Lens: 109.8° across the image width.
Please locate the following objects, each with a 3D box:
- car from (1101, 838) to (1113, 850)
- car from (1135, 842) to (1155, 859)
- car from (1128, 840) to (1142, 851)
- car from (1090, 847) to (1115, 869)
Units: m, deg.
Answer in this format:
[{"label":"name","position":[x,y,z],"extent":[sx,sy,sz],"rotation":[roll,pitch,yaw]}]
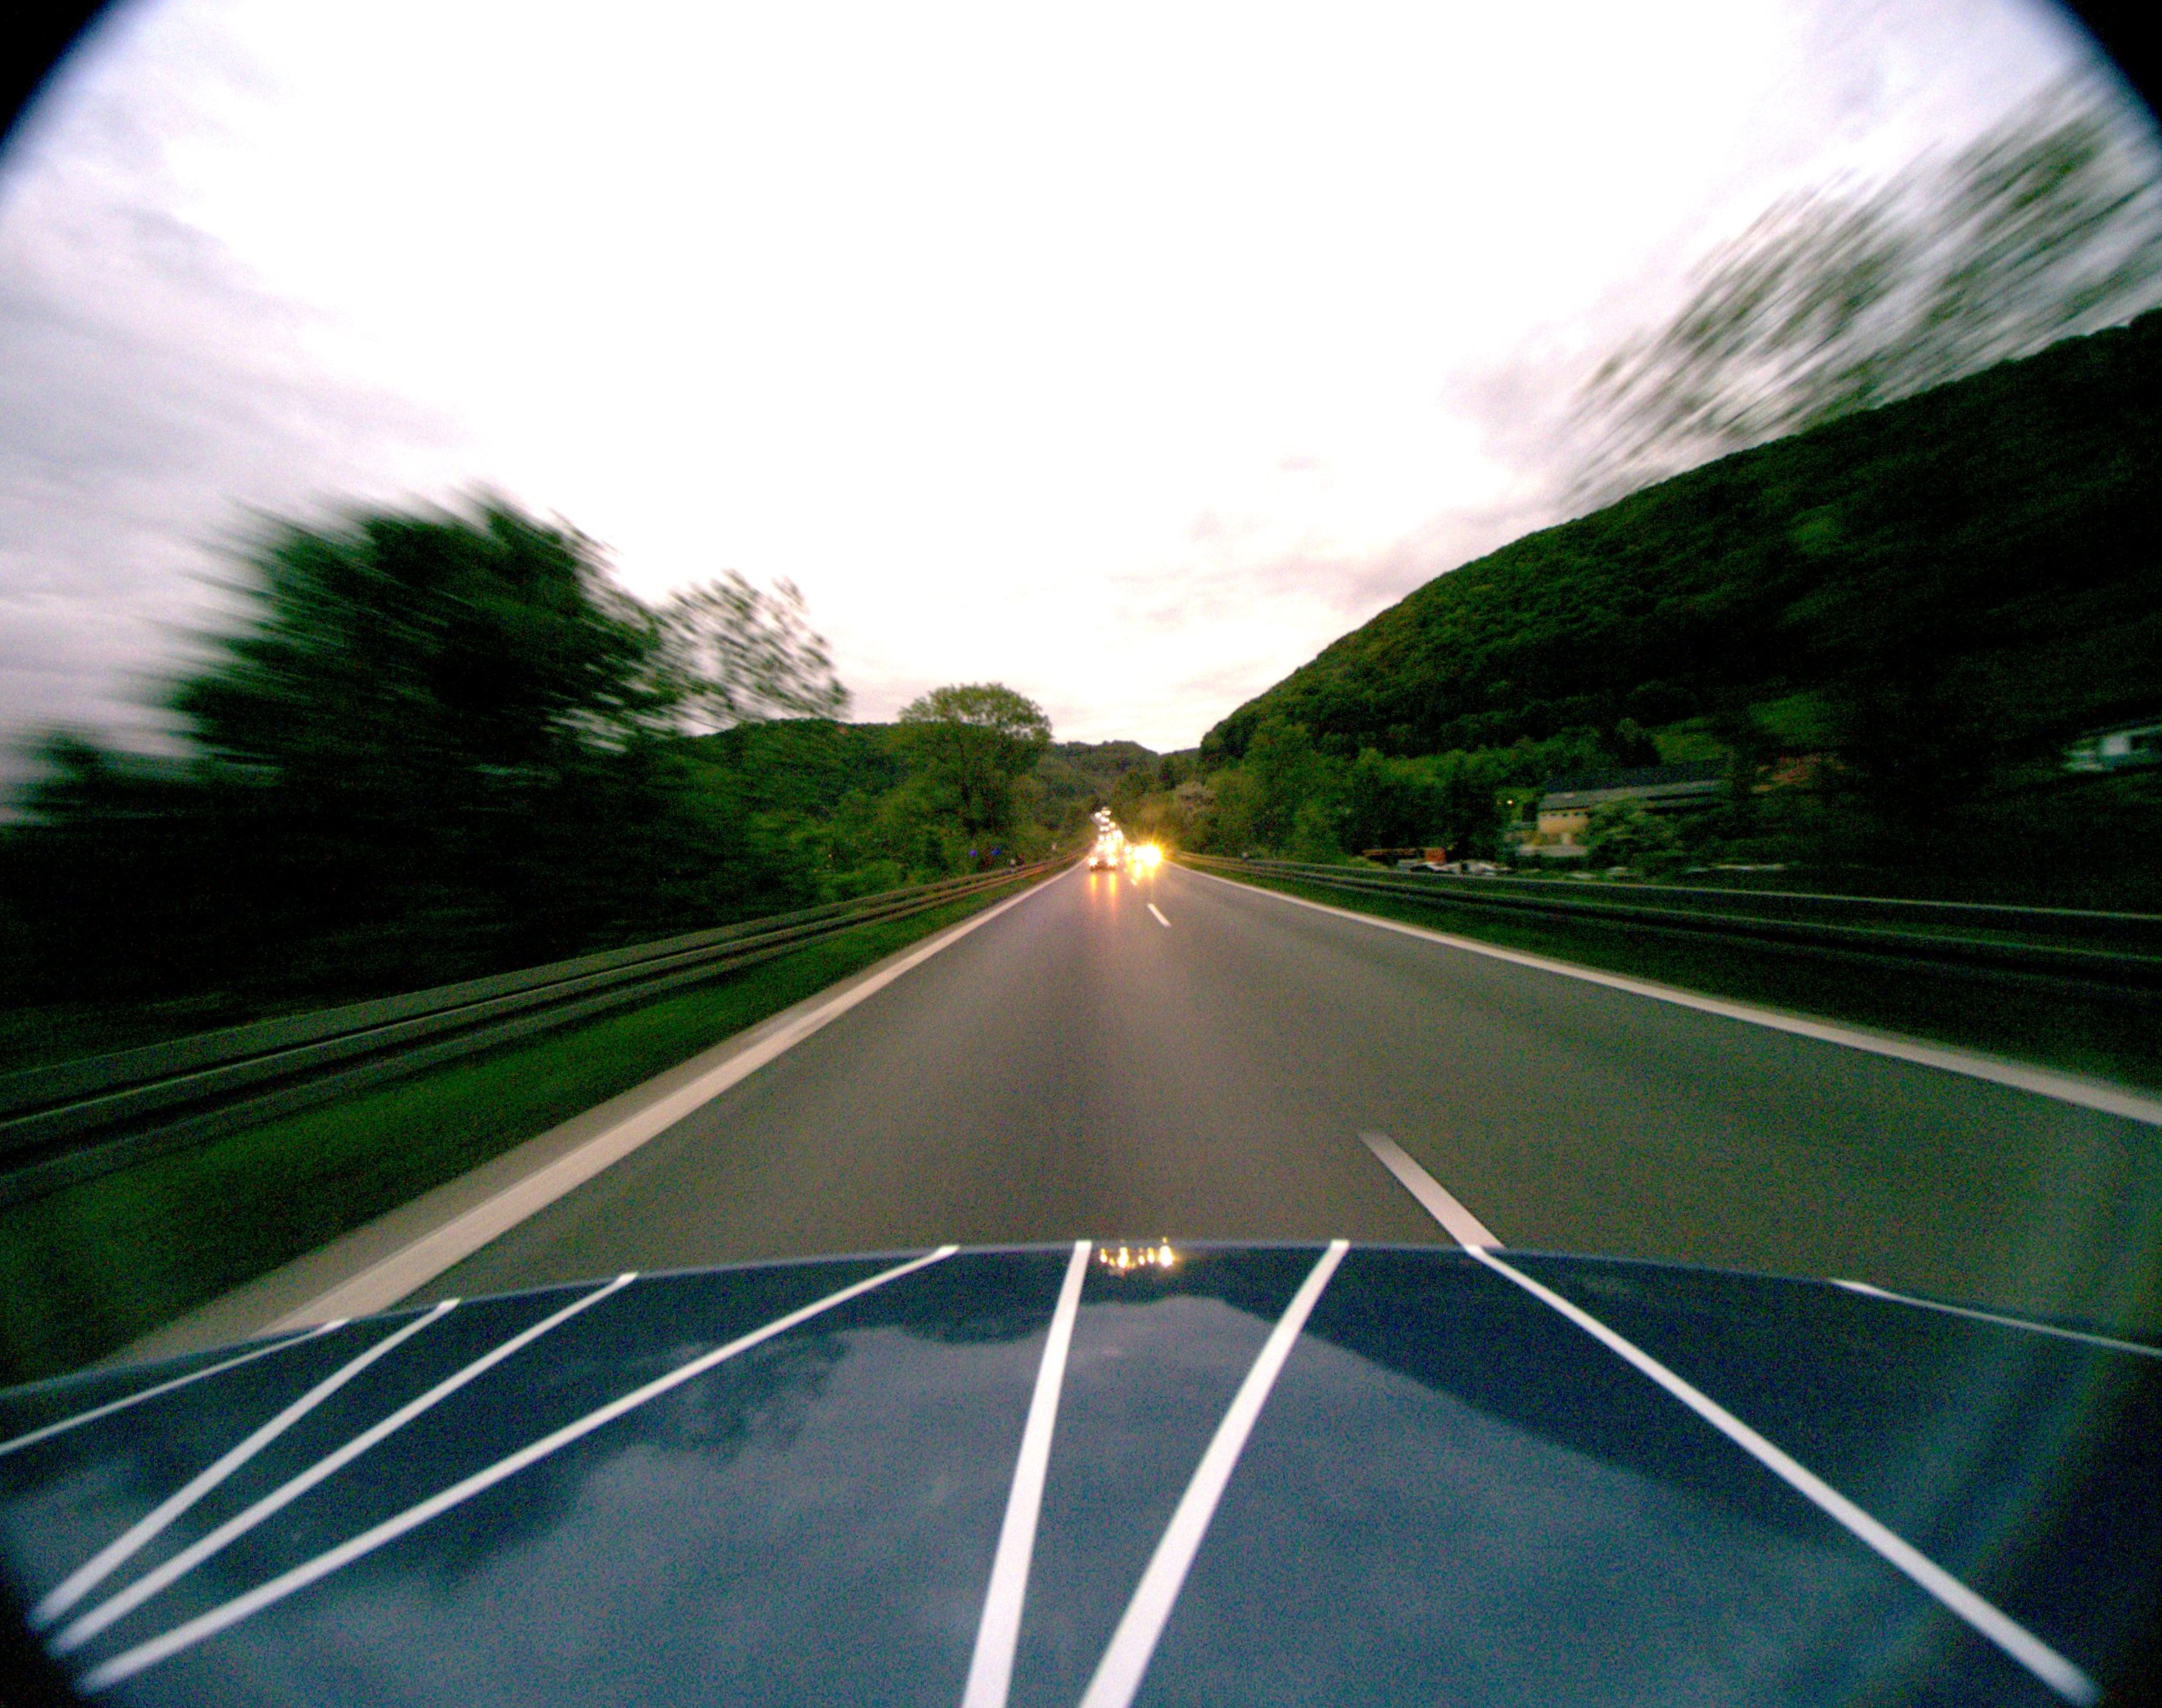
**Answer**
[{"label":"car","position":[3.936,-1.453,115.583],"extent":[1.737,1.641,3.669],"rotation":[-2,-1,1]},{"label":"car","position":[6.061,-0.329,72.429],"extent":[1.690,1.459,3.768],"rotation":[-2,-1,1]},{"label":"car","position":[7.470,-1.160,105.672],"extent":[1.690,1.425,3.669],"rotation":[-2,-1,2]},{"label":"car","position":[1.582,0.291,55.142],"extent":[1.690,1.443,3.669],"rotation":[-2,-1,2]}]
